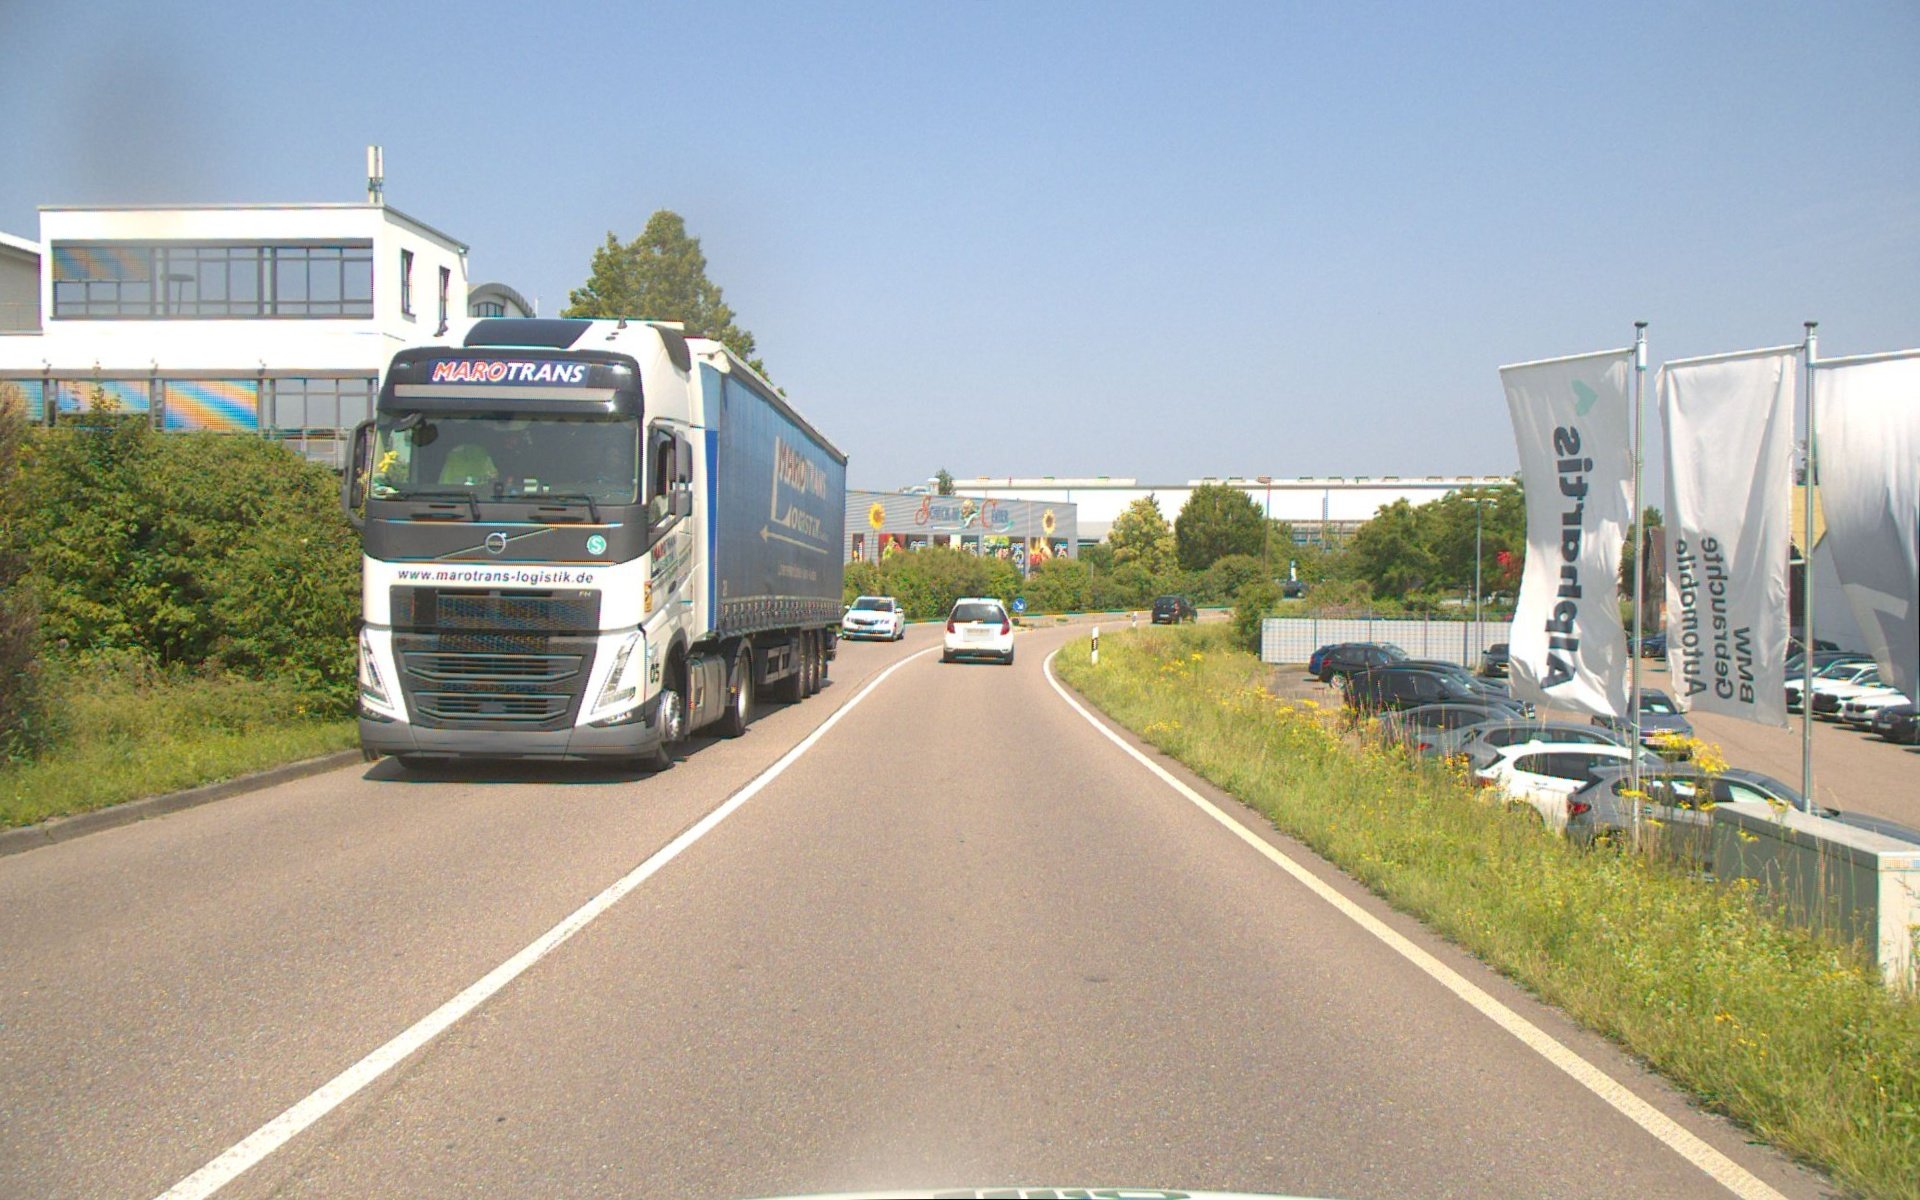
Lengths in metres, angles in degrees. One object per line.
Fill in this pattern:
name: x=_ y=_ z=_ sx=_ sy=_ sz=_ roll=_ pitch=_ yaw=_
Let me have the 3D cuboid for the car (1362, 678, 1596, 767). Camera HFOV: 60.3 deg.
car: x=11.301 y=2.623 z=36.097 sx=4.544 sy=1.549 sz=1.852 roll=2 pitch=0 yaw=31

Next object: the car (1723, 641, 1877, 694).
car: x=27.678 y=2.228 z=54.534 sx=4.247 sy=1.603 sz=1.906 roll=1 pitch=1 yaw=-12

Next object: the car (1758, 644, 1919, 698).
car: x=27.641 y=2.230 z=52.088 sx=4.247 sy=1.549 sz=1.906 roll=1 pitch=1 yaw=-12

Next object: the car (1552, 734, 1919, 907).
car: x=9.532 y=2.601 z=20.155 sx=4.085 sy=1.549 sz=1.685 roll=2 pitch=0 yaw=33

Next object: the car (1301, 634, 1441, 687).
car: x=14.709 y=2.139 z=59.250 sx=4.540 sy=1.633 sz=1.854 roll=2 pitch=1 yaw=28

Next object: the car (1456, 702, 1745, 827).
car: x=10.172 y=2.545 z=26.301 sx=4.079 sy=1.549 sz=1.854 roll=2 pitch=0 yaw=28

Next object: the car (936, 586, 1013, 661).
car: x=0.330 y=0.559 z=41.992 sx=1.745 sy=1.630 sz=3.893 roll=5 pitch=1 yaw=-1

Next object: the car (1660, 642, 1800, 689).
car: x=27.509 y=2.330 z=59.120 sx=4.247 sy=1.549 sz=1.906 roll=1 pitch=1 yaw=-12

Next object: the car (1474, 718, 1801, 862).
car: x=9.530 y=2.599 z=23.307 sx=4.080 sy=1.549 sz=1.748 roll=2 pitch=0 yaw=29

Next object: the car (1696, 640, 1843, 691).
car: x=27.773 y=2.231 z=56.766 sx=4.247 sy=1.603 sz=1.906 roll=1 pitch=1 yaw=-12

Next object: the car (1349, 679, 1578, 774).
car: x=10.076 y=2.487 z=33.133 sx=4.080 sy=1.549 sz=1.853 roll=2 pitch=0 yaw=29

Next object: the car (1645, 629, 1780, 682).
car: x=27.876 y=2.059 z=61.325 sx=4.247 sy=1.836 sz=1.906 roll=1 pitch=1 yaw=-12

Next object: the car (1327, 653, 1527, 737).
car: x=11.853 y=2.369 z=42.072 sx=4.547 sy=1.730 sz=1.851 roll=2 pitch=2 yaw=33

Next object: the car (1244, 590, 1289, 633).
car: x=15.373 y=0.583 z=82.816 sx=1.951 sy=2.049 sz=4.003 roll=2 pitch=0 yaw=13

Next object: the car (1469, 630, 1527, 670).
car: x=22.918 y=2.104 z=70.410 sx=1.814 sy=1.561 sz=4.640 roll=2 pitch=0 yaw=24

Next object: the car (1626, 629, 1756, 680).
car: x=28.360 y=2.097 z=64.216 sx=4.247 sy=1.836 sz=1.994 roll=1 pitch=1 yaw=-12

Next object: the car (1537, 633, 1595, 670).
car: x=25.577 y=2.139 z=69.765 sx=1.954 sy=1.422 sz=3.997 roll=2 pitch=0 yaw=25

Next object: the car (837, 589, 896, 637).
car: x=-3.126 y=0.429 z=56.016 sx=1.792 sy=1.496 sz=4.409 roll=2 pitch=0 yaw=-1

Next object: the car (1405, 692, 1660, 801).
car: x=10.295 y=2.577 z=29.796 sx=4.080 sy=1.549 sz=1.853 roll=2 pitch=0 yaw=29

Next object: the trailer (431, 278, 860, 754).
trailer: x=-3.339 y=-0.781 z=22.542 sx=2.615 sy=4.315 sz=14.568 roll=2 pitch=0 yaw=1

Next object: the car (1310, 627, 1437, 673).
car: x=16.313 y=1.938 z=65.363 sx=4.544 sy=1.524 sz=1.852 roll=2 pitch=2 yaw=31

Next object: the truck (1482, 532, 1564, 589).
truck: x=43.597 y=-3.048 z=127.998 sx=6.653 sy=4.101 sz=2.852 roll=2 pitch=0 yaw=-39

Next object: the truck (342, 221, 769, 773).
truck: x=-3.536 y=-0.810 z=16.055 sx=2.461 sy=4.332 sz=6.114 roll=0 pitch=0 yaw=2

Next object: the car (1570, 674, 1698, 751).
car: x=16.106 y=2.658 z=39.758 sx=2.090 sy=1.483 sz=4.536 roll=2 pitch=0 yaw=13

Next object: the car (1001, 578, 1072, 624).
car: x=3.561 y=0.066 z=76.212 sx=1.953 sy=2.049 sz=3.999 roll=2 pitch=0 yaw=23

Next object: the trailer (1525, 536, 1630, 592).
trailer: x=49.100 y=-2.851 z=131.369 sx=8.570 sy=4.101 sz=2.862 roll=2 pitch=0 yaw=-29

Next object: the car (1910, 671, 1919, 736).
car: x=25.476 y=2.550 z=39.872 sx=4.230 sy=1.550 sz=1.794 roll=1 pitch=0 yaw=-7

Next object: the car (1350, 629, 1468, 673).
car: x=18.365 y=2.053 z=67.746 sx=4.298 sy=1.529 sz=1.831 roll=2 pitch=2 yaw=43

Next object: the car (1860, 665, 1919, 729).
car: x=25.684 y=2.510 z=42.777 sx=3.920 sy=1.550 sz=1.756 roll=1 pitch=0 yaw=-7

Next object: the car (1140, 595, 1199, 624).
car: x=11.512 y=0.556 z=90.568 sx=1.793 sy=1.496 sz=4.405 roll=2 pitch=0 yaw=27

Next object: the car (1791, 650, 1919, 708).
car: x=27.338 y=2.332 z=49.150 sx=4.516 sy=1.549 sz=1.906 roll=1 pitch=1 yaw=-12

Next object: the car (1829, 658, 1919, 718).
car: x=26.963 y=2.452 z=46.138 sx=4.557 sy=1.550 sz=1.909 roll=1 pitch=0 yaw=-7
